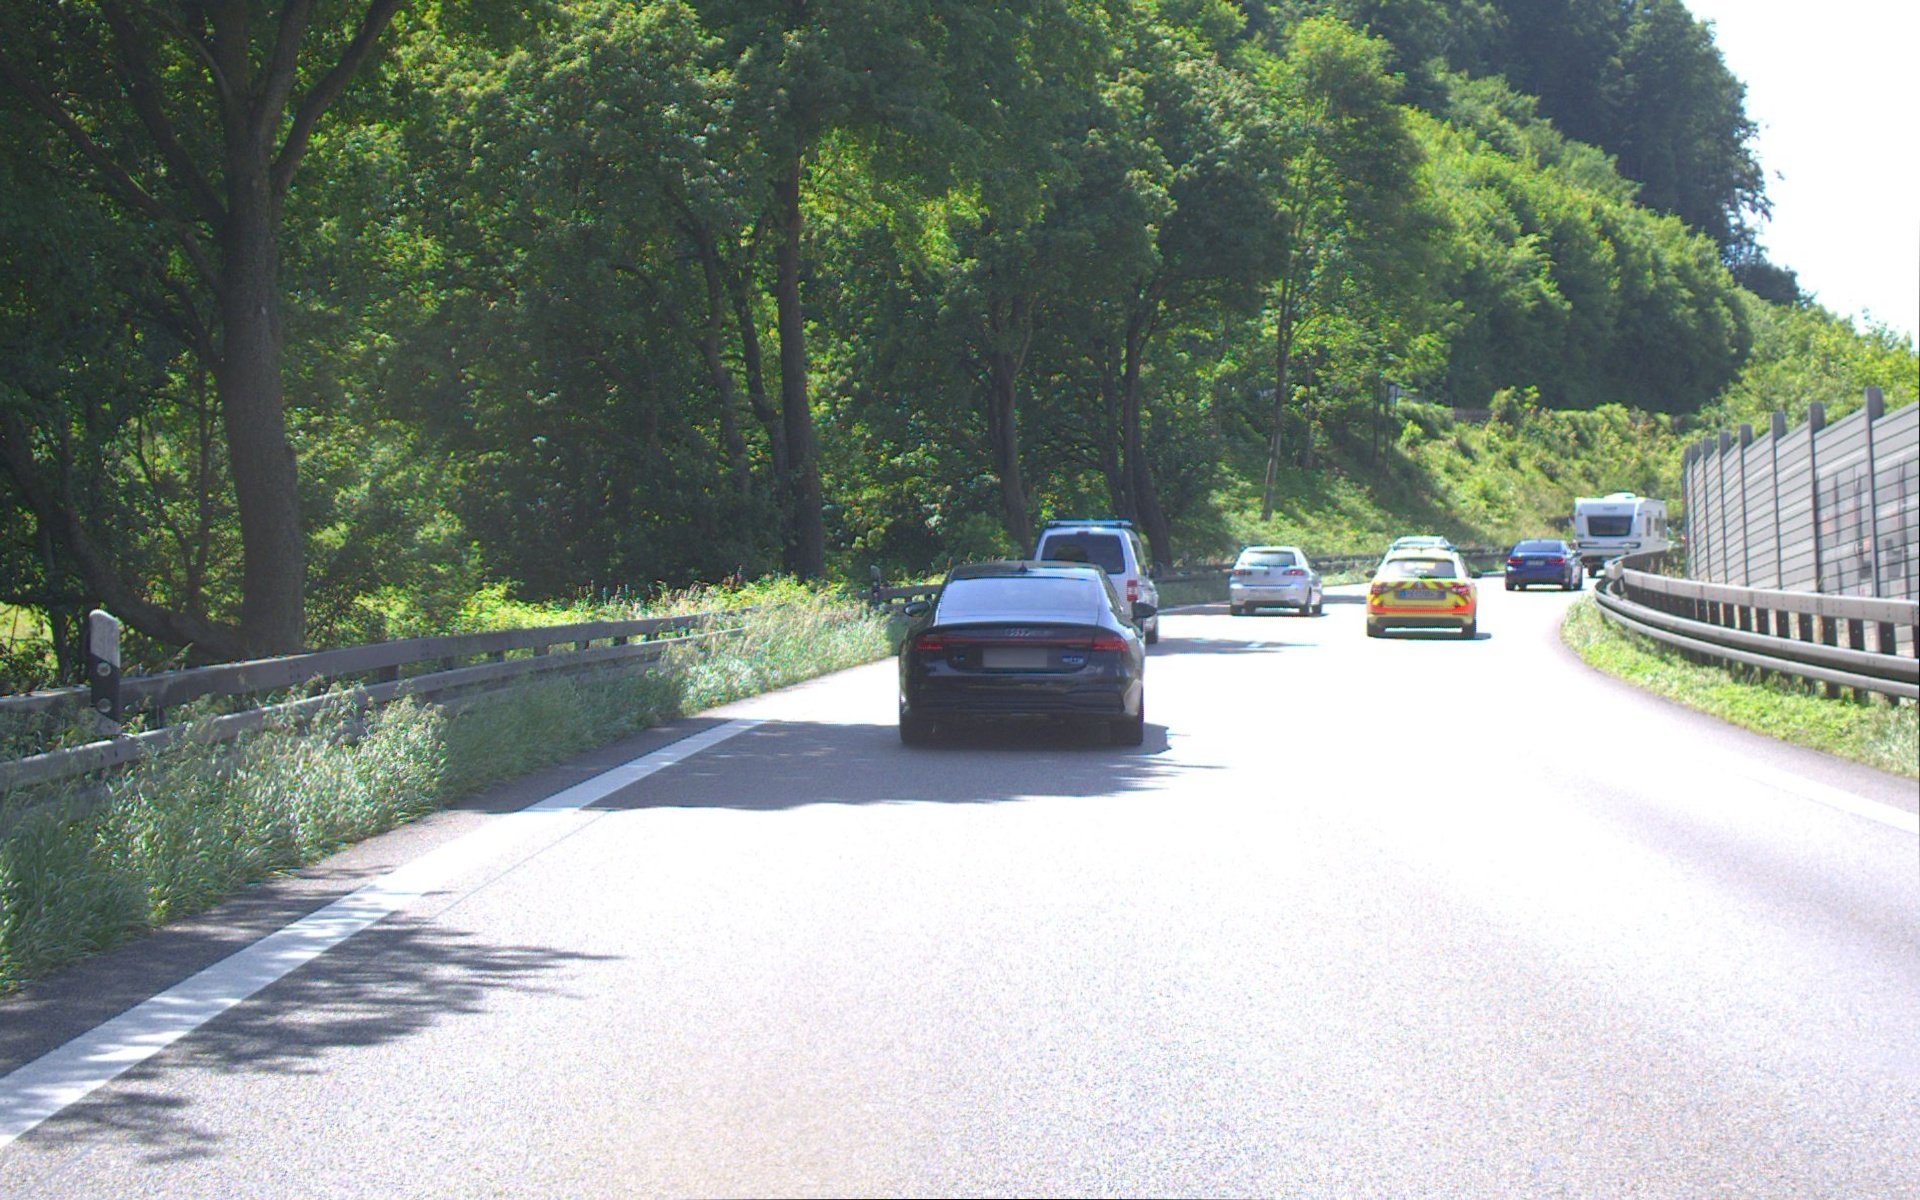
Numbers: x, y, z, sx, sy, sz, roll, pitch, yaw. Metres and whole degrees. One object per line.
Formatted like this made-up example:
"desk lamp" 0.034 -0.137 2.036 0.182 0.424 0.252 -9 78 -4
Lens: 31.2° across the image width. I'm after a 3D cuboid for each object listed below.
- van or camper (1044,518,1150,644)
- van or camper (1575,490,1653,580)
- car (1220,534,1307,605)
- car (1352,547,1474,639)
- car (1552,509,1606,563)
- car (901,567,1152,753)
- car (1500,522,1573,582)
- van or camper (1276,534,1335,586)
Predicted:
"van or camper" 2.098 -0.293 51.789 1.392 1.809 3.999 -1 0 5
"van or camper" 21.918 -2.154 115.073 2.457 2.908 6.123 -1 0 12
"car" 6.317 -0.630 71.362 1.747 1.426 3.999 -1 0 6
"car" 7.703 -0.130 58.251 1.863 1.483 3.998 -1 0 10
"car" 23.905 -2.459 132.779 1.994 2.007 3.998 -1 0 11
"car" 0.475 0.435 27.446 1.837 1.345 4.000 1 0 -1
"car" 16.301 -1.346 97.067 1.774 1.631 3.998 0 0 13
"van or camper" 10.474 -1.199 104.029 1.558 1.529 3.504 -1 0 9
